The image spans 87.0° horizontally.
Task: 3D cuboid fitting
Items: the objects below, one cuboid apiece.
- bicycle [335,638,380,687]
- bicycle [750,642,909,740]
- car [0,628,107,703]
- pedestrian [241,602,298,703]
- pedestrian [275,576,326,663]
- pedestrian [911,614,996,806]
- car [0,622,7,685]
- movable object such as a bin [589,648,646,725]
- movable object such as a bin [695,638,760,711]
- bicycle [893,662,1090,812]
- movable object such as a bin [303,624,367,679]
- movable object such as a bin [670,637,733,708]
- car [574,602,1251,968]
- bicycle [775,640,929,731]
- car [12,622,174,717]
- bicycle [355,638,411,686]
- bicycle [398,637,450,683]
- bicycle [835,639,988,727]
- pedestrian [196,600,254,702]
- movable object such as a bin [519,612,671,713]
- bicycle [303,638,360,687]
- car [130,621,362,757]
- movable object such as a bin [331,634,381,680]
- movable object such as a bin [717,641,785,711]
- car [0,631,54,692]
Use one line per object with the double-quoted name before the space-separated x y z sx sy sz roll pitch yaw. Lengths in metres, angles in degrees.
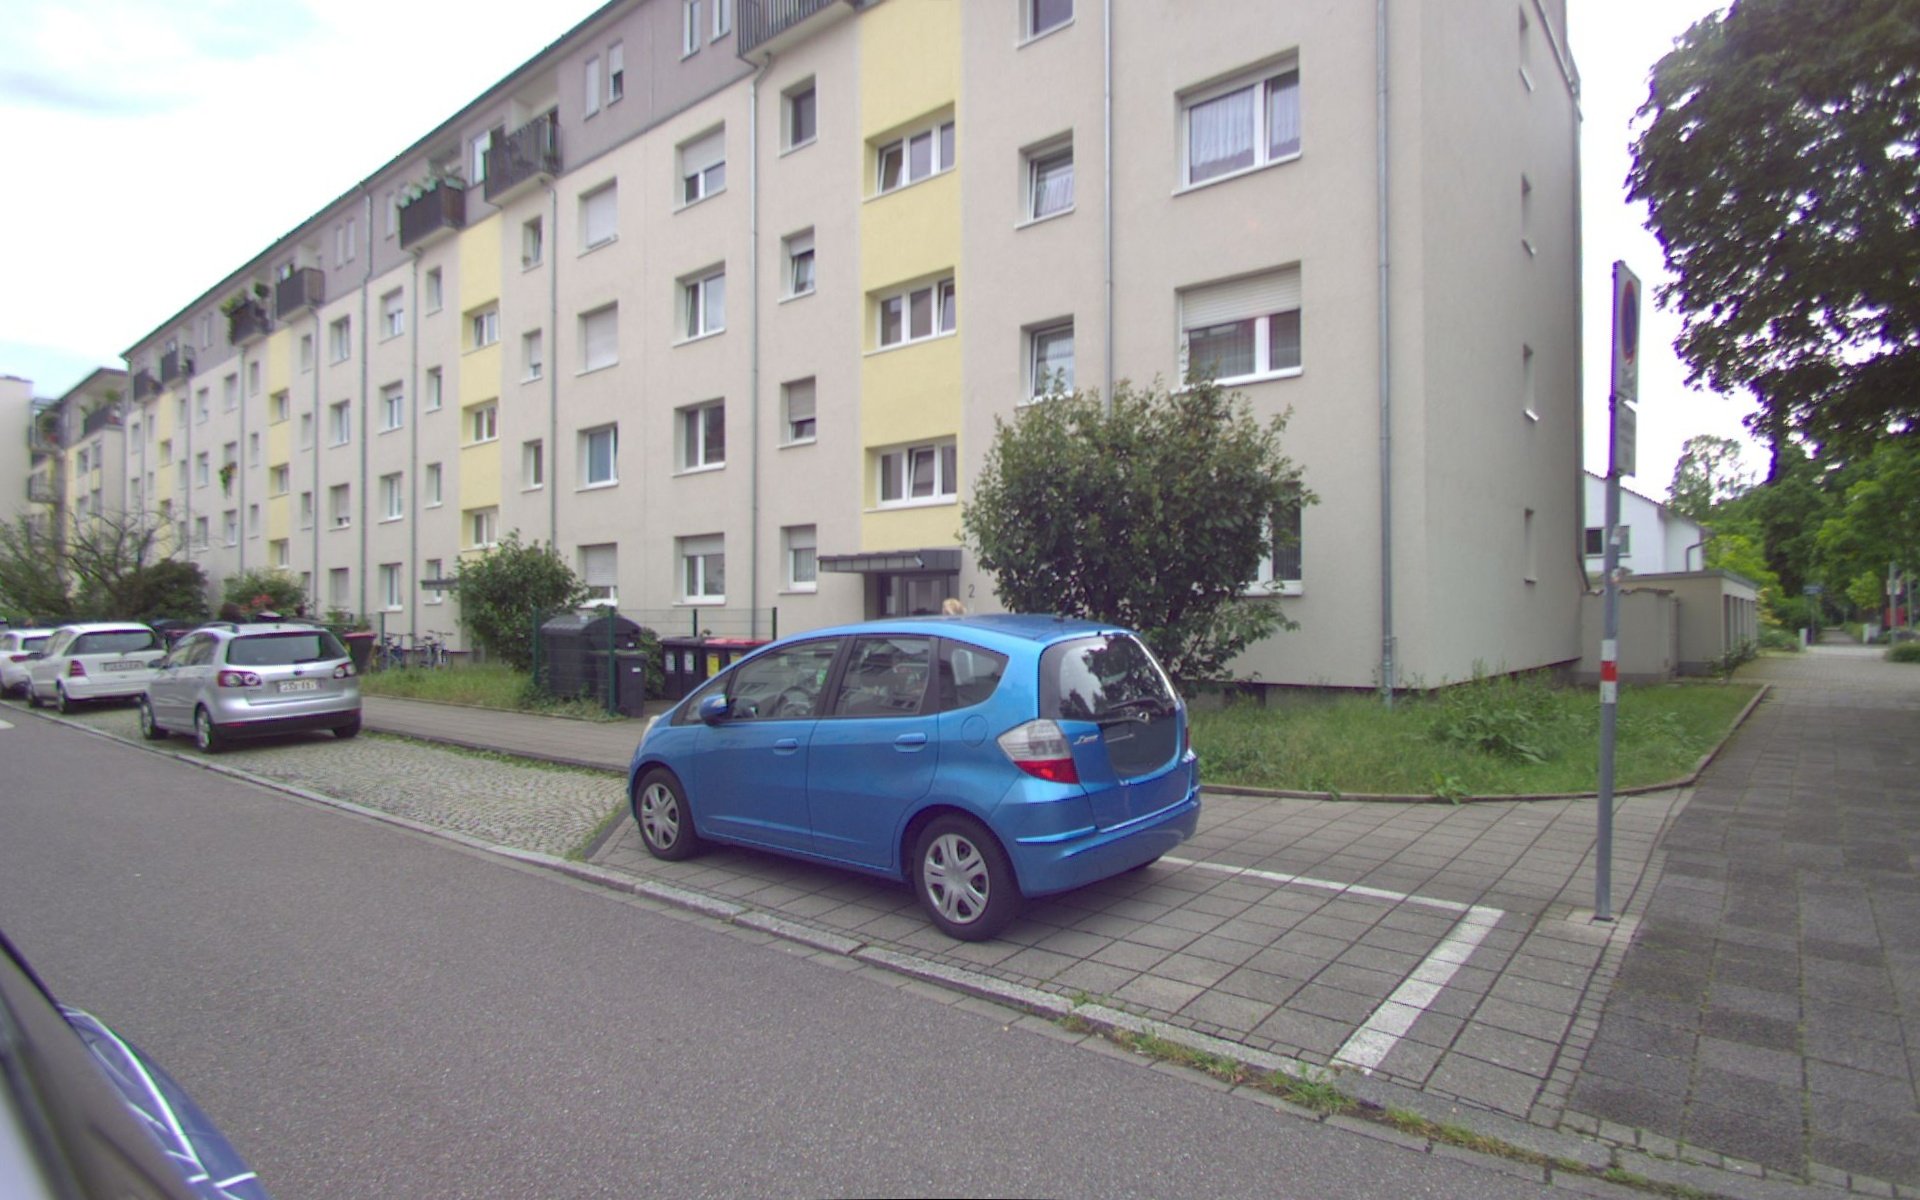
"bicycle" -13.311 1.368 22.339 1.496 1.032 0.352 -2 -2 39
"bicycle" -1.613 1.056 12.230 2.120 1.076 0.650 -2 -2 41
"car" -21.081 1.437 22.912 4.679 1.521 1.702 -2 -2 37
"pedestrian" -13.077 0.980 19.173 0.762 1.868 0.699 -2 -2 39
"pedestrian" -12.974 0.384 19.911 0.802 1.669 0.608 -2 -2 39
"pedestrian" -0.057 0.910 8.631 0.568 1.561 0.442 -3 -3 43
"car" -29.747 1.595 30.009 4.446 1.794 1.555 -2 -2 39
"movable object such as a bin" -4.858 1.211 14.342 0.597 1.041 0.532 -2 -2 38
"movable object such as a bin" -3.751 1.179 16.342 0.597 1.125 0.834 -2 -2 37
"bicycle" 0.229 1.123 8.753 1.819 1.128 0.530 -2 -3 44
"movable object such as a bin" -16.462 1.334 26.641 1.186 1.385 1.047 0 0 35
"movable object such as a bin" -4.275 1.181 16.749 0.597 1.125 0.834 -2 -2 37
"car" -0.488 0.819 6.139 3.953 1.473 1.713 -2 0 40
"bicycle" -1.431 1.069 13.064 2.173 1.079 0.651 -2 -2 41
"car" -16.691 1.273 19.443 3.722 1.651 1.669 -2 -2 38
"bicycle" -12.938 1.367 22.668 1.753 1.032 0.473 -2 -2 39
"bicycle" -12.368 1.368 23.333 1.556 1.032 0.416 -2 -2 36
"bicycle" -0.681 1.075 13.493 2.173 1.079 0.651 -2 -2 41
"pedestrian" -13.961 0.954 19.208 0.973 1.877 0.634 -2 0 39
"movable object such as a bin" -5.624 0.921 15.595 1.669 1.432 1.573 -2 -2 39
"bicycle" -13.689 1.346 22.038 1.877 1.032 0.483 -2 -2 40
"car" -9.761 1.103 13.732 3.912 1.562 1.637 -2 -1 40
"movable object such as a bin" -15.555 1.464 26.062 0.786 1.117 0.861 0 0 35
"movable object such as a bin" -3.278 1.175 15.888 0.633 1.059 0.855 -2 -2 38
"car" -25.115 1.552 26.157 4.475 1.464 1.709 -1 -2 37
